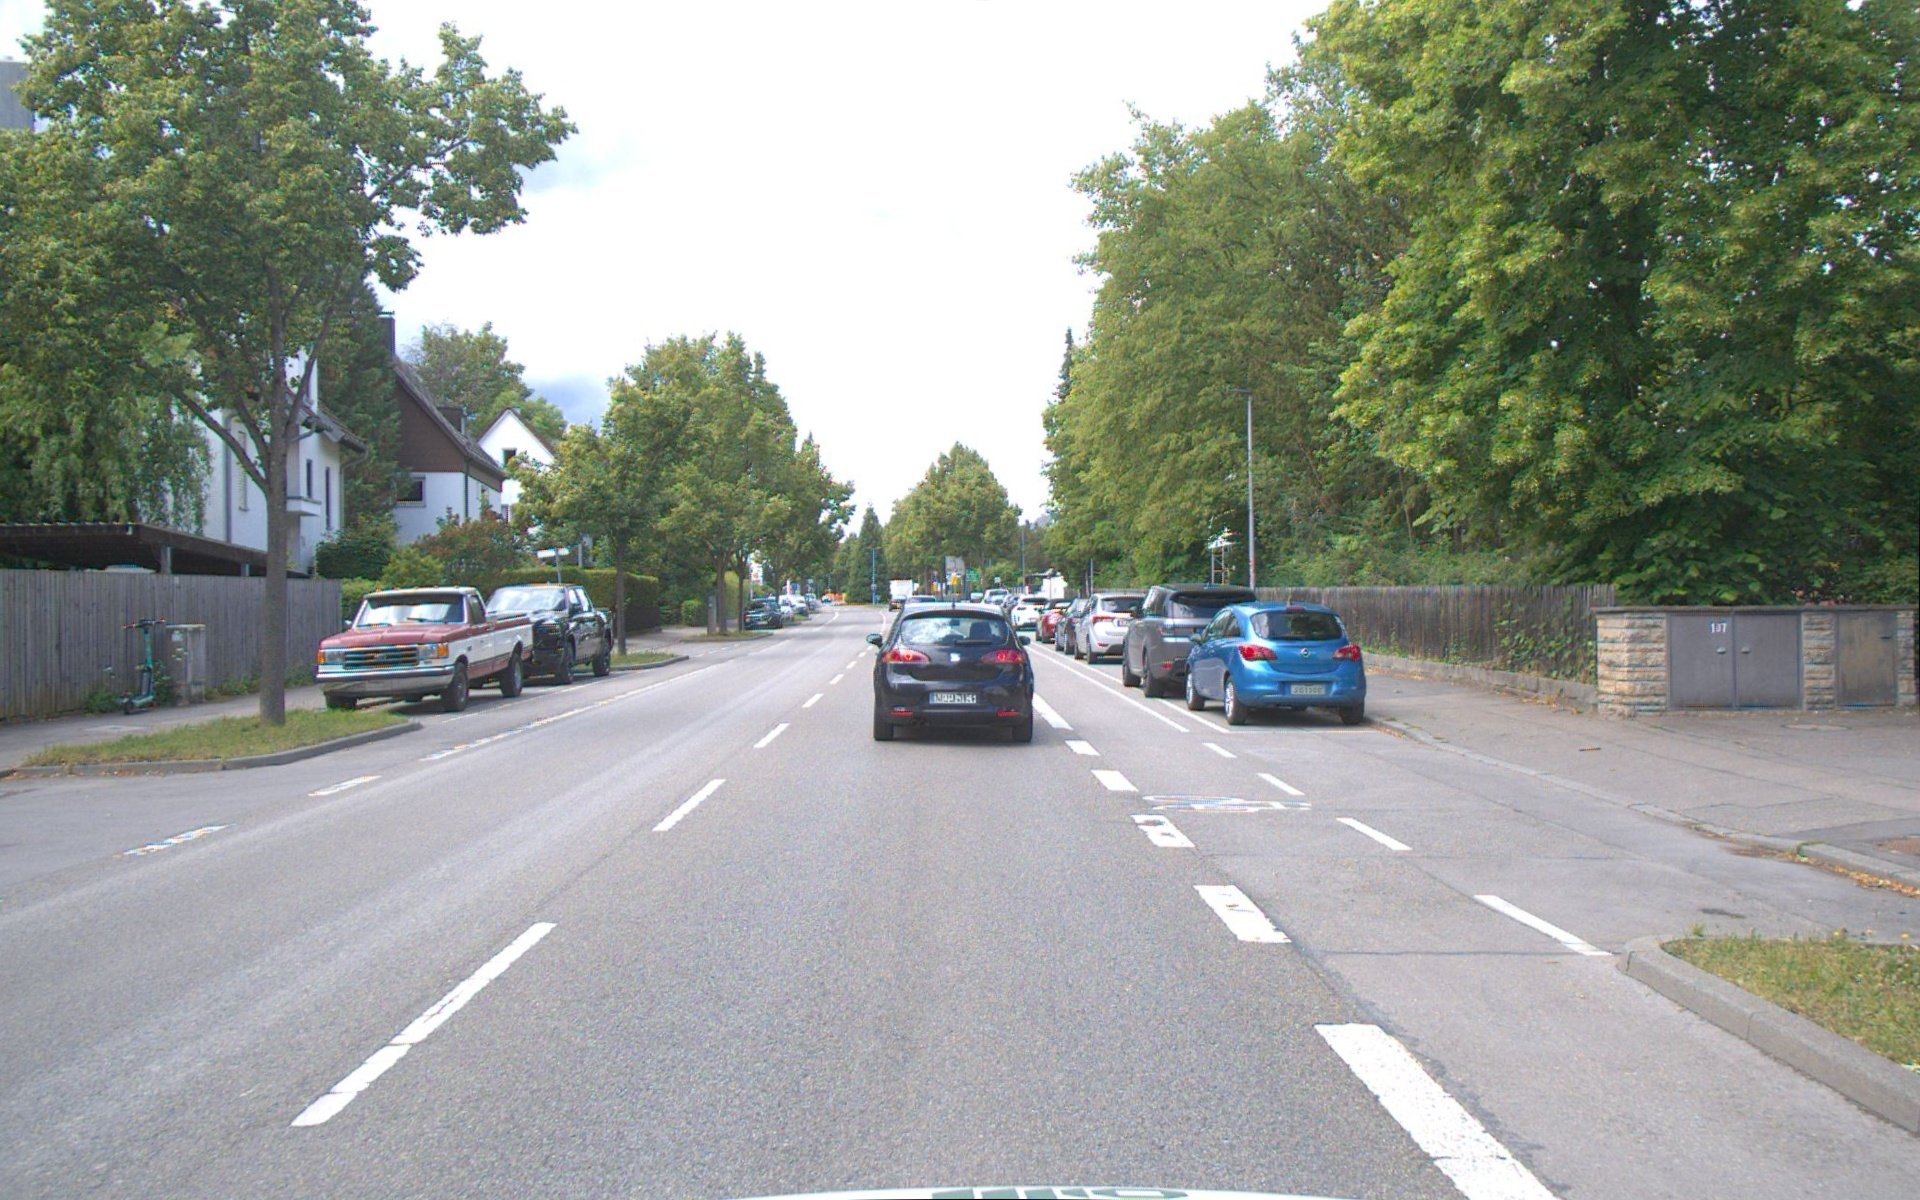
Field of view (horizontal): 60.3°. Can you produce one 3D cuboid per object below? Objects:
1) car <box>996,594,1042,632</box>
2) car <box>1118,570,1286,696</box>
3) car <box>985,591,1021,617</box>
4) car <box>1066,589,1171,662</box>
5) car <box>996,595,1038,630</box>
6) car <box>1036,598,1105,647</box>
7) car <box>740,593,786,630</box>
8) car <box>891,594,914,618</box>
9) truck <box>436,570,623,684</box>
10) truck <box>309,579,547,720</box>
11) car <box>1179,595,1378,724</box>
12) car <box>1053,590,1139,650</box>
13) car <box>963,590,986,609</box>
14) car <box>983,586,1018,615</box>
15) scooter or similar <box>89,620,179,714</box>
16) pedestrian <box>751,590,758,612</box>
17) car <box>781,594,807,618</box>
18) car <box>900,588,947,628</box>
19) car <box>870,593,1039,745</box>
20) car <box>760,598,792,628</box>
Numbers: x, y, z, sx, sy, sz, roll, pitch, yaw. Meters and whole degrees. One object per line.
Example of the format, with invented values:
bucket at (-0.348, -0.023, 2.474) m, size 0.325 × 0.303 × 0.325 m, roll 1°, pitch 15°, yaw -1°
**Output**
car at (2.467, 0.549, 69.714) m, size 1.732 × 1.537 × 4.030 m, roll -1°, pitch 0°, yaw -1°
car at (3.821, 0.503, 26.919) m, size 1.953 × 1.847 × 4.826 m, roll 1°, pitch 0°, yaw -1°
car at (2.431, 0.202, 94.055) m, size 1.825 × 1.441 × 4.601 m, roll -1°, pitch 0°, yaw -1°
car at (3.691, 0.567, 39.233) m, size 1.825 × 1.617 × 4.419 m, roll 0°, pitch 0°, yaw -3°
car at (2.591, 0.549, 75.483) m, size 1.667 × 1.536 × 4.536 m, roll 0°, pitch 1°, yaw -1°
car at (3.561, 0.703, 54.190) m, size 1.821 × 1.438 × 4.442 m, roll 1°, pitch 1°, yaw -2°
car at (-9.847, 0.564, 82.986) m, size 2.054 × 1.675 × 5.033 m, roll -2°, pitch 1°, yaw -5°
car at (-5.043, 0.526, 144.627) m, size 1.953 × 2.049 × 3.998 m, roll -1°, pitch 0°, yaw -2°
truck at (-8.622, 0.486, 33.763) m, size 2.374 × 2.079 × 5.993 m, roll -1°, pitch 0°, yaw -2°
truck at (-8.231, 0.695, 26.232) m, size 1.927 × 1.901 × 5.663 m, roll -3°, pitch 0°, yaw -1°
car at (4.057, 0.714, 21.637) m, size 1.651 × 1.528 × 3.919 m, roll 0°, pitch 0°, yaw -3°
car at (3.635, 0.523, 44.929) m, size 1.779 × 1.541 × 4.678 m, roll 0°, pitch 0°, yaw -2°
car at (1.183, -0.026, 137.362) m, size 1.580 × 1.401 × 4.384 m, roll -1°, pitch -1°, yaw -3°
car at (2.436, 0.029, 100.636) m, size 1.862 × 1.671 × 4.115 m, roll -1°, pitch 0°, yaw -2°
scooter or similar at (-11.338, 0.903, 22.750) m, size 0.623 × 1.233 × 1.303 m, roll 1°, pitch -1°, yaw -5°
pedestrian at (-17.111, 0.074, 137.653) m, size 0.494 × 1.837 × 0.671 m, roll -1°, pitch 0°, yaw -4°
car at (-11.554, 0.393, 115.288) m, size 1.644 × 1.579 × 4.268 m, roll -1°, pitch 0°, yaw -5°
car at (-1.609, 0.338, 71.934) m, size 1.953 × 1.641 × 3.998 m, roll -1°, pitch 0°, yaw -2°
car at (-0.082, 0.690, 18.715) m, size 1.697 × 1.512 × 3.999 m, roll 1°, pitch 0°, yaw -1°
car at (-10.824, 0.755, 97.533) m, size 1.684 × 1.641 × 3.907 m, roll -2°, pitch 0°, yaw -4°
